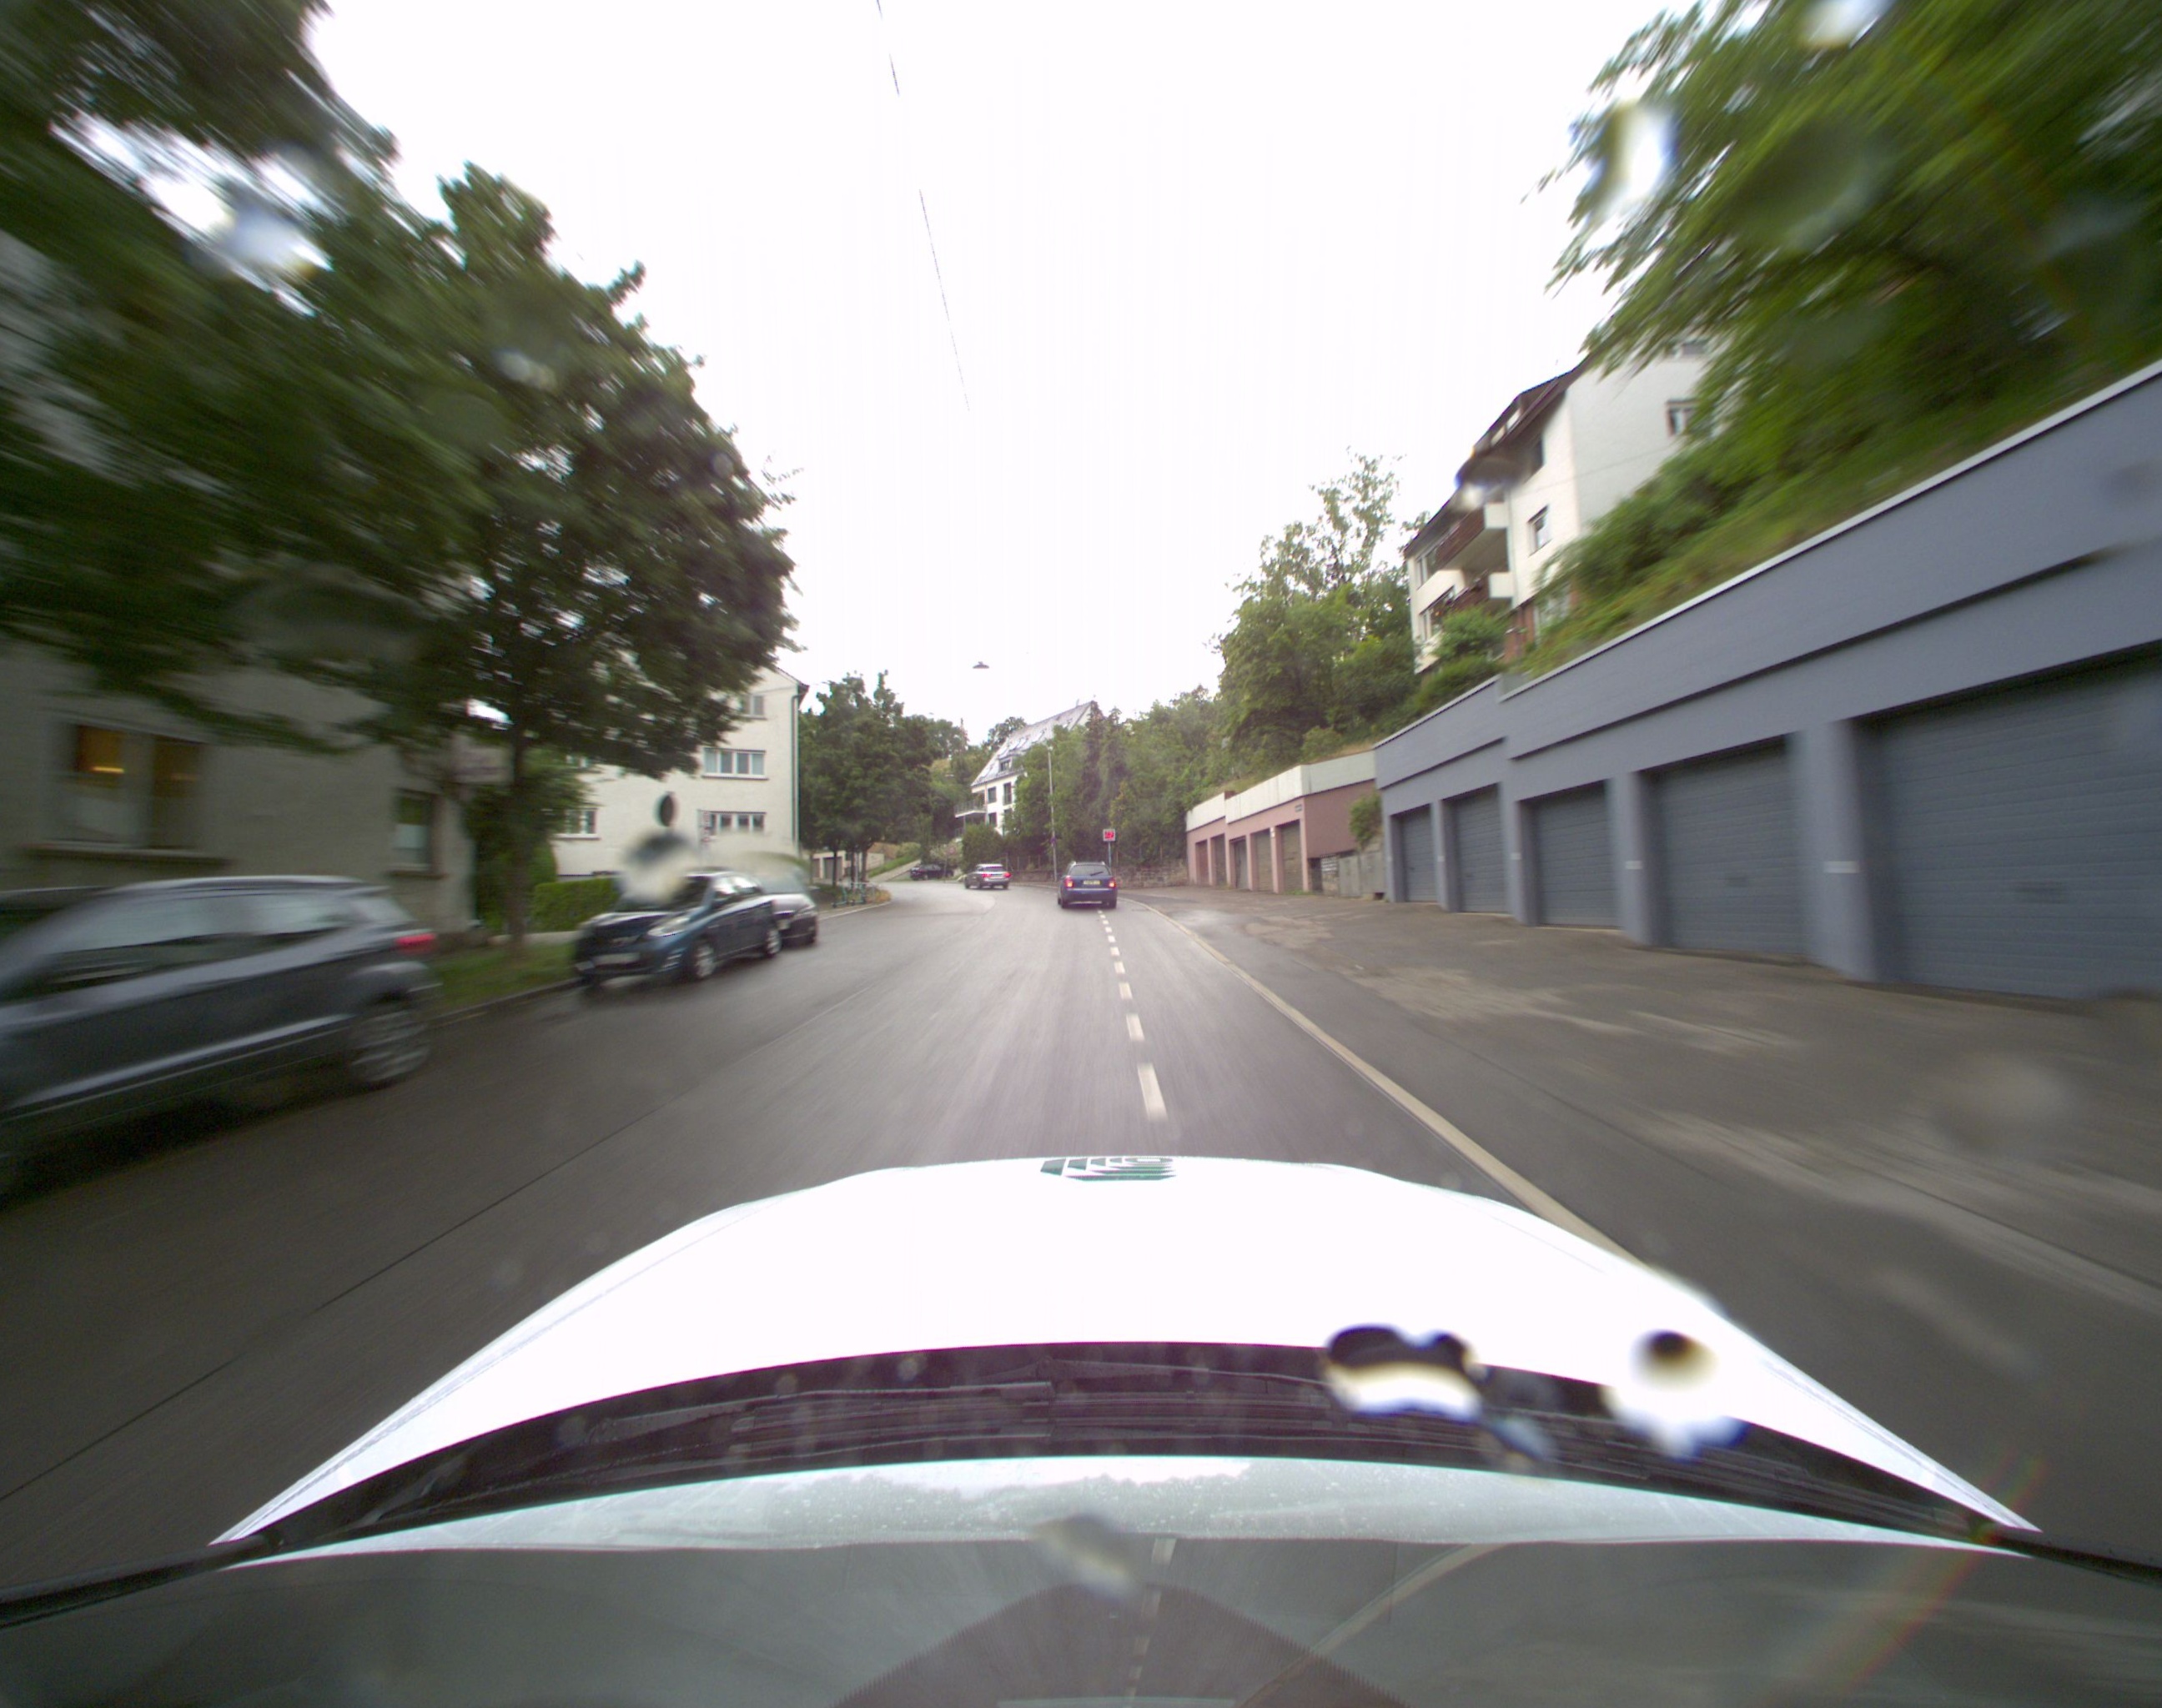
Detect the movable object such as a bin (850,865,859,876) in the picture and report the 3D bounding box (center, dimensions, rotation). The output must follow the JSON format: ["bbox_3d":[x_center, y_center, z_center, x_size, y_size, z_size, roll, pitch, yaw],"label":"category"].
[{"bbox_3d":[-23.985,1.740,86.353,0.574,1.223,0.708,-1,0,26],"label":"movable object such as a bin"}]

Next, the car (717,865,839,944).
[{"bbox_3d":[-6.504,0.976,17.190,2.004,1.391,4.161,-1,-1,-26],"label":"car"}]

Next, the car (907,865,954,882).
[{"bbox_3d":[-14.057,1.827,76.280,1.718,1.508,4.208,-2,-1,40],"label":"car"}]

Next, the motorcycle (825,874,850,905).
[{"bbox_3d":[-10.318,1.484,34.562,0.550,1.228,1.307,-1,0,5],"label":"motorcycle"}]

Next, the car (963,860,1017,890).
[{"bbox_3d":[-5.477,1.225,48.440,1.959,1.561,4.229,2,0,-24],"label":"car"}]

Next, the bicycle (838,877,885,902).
[{"bbox_3d":[-10.218,1.636,37.900,1.972,1.060,0.748,-1,0,-24],"label":"bicycle"}]

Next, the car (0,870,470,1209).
[{"bbox_3d":[-6.158,0.935,4.906,1.798,1.627,4.139,-1,-1,0],"label":"car"}]

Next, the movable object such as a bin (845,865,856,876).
[{"bbox_3d":[-24.510,1.758,86.530,0.777,1.185,0.867,-1,0,26],"label":"movable object such as a bin"}]

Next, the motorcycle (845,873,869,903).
[{"bbox_3d":[-9.686,1.458,35.250,0.554,1.203,1.400,-1,0,5],"label":"motorcycle"}]

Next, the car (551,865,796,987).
[{"bbox_3d":[-5.947,0.952,12.463,1.706,1.462,3.882,0,1,1],"label":"car"}]

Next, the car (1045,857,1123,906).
[{"bbox_3d":[0.012,0.826,26.503,1.853,1.414,4.347,-1,0,-9],"label":"car"}]
